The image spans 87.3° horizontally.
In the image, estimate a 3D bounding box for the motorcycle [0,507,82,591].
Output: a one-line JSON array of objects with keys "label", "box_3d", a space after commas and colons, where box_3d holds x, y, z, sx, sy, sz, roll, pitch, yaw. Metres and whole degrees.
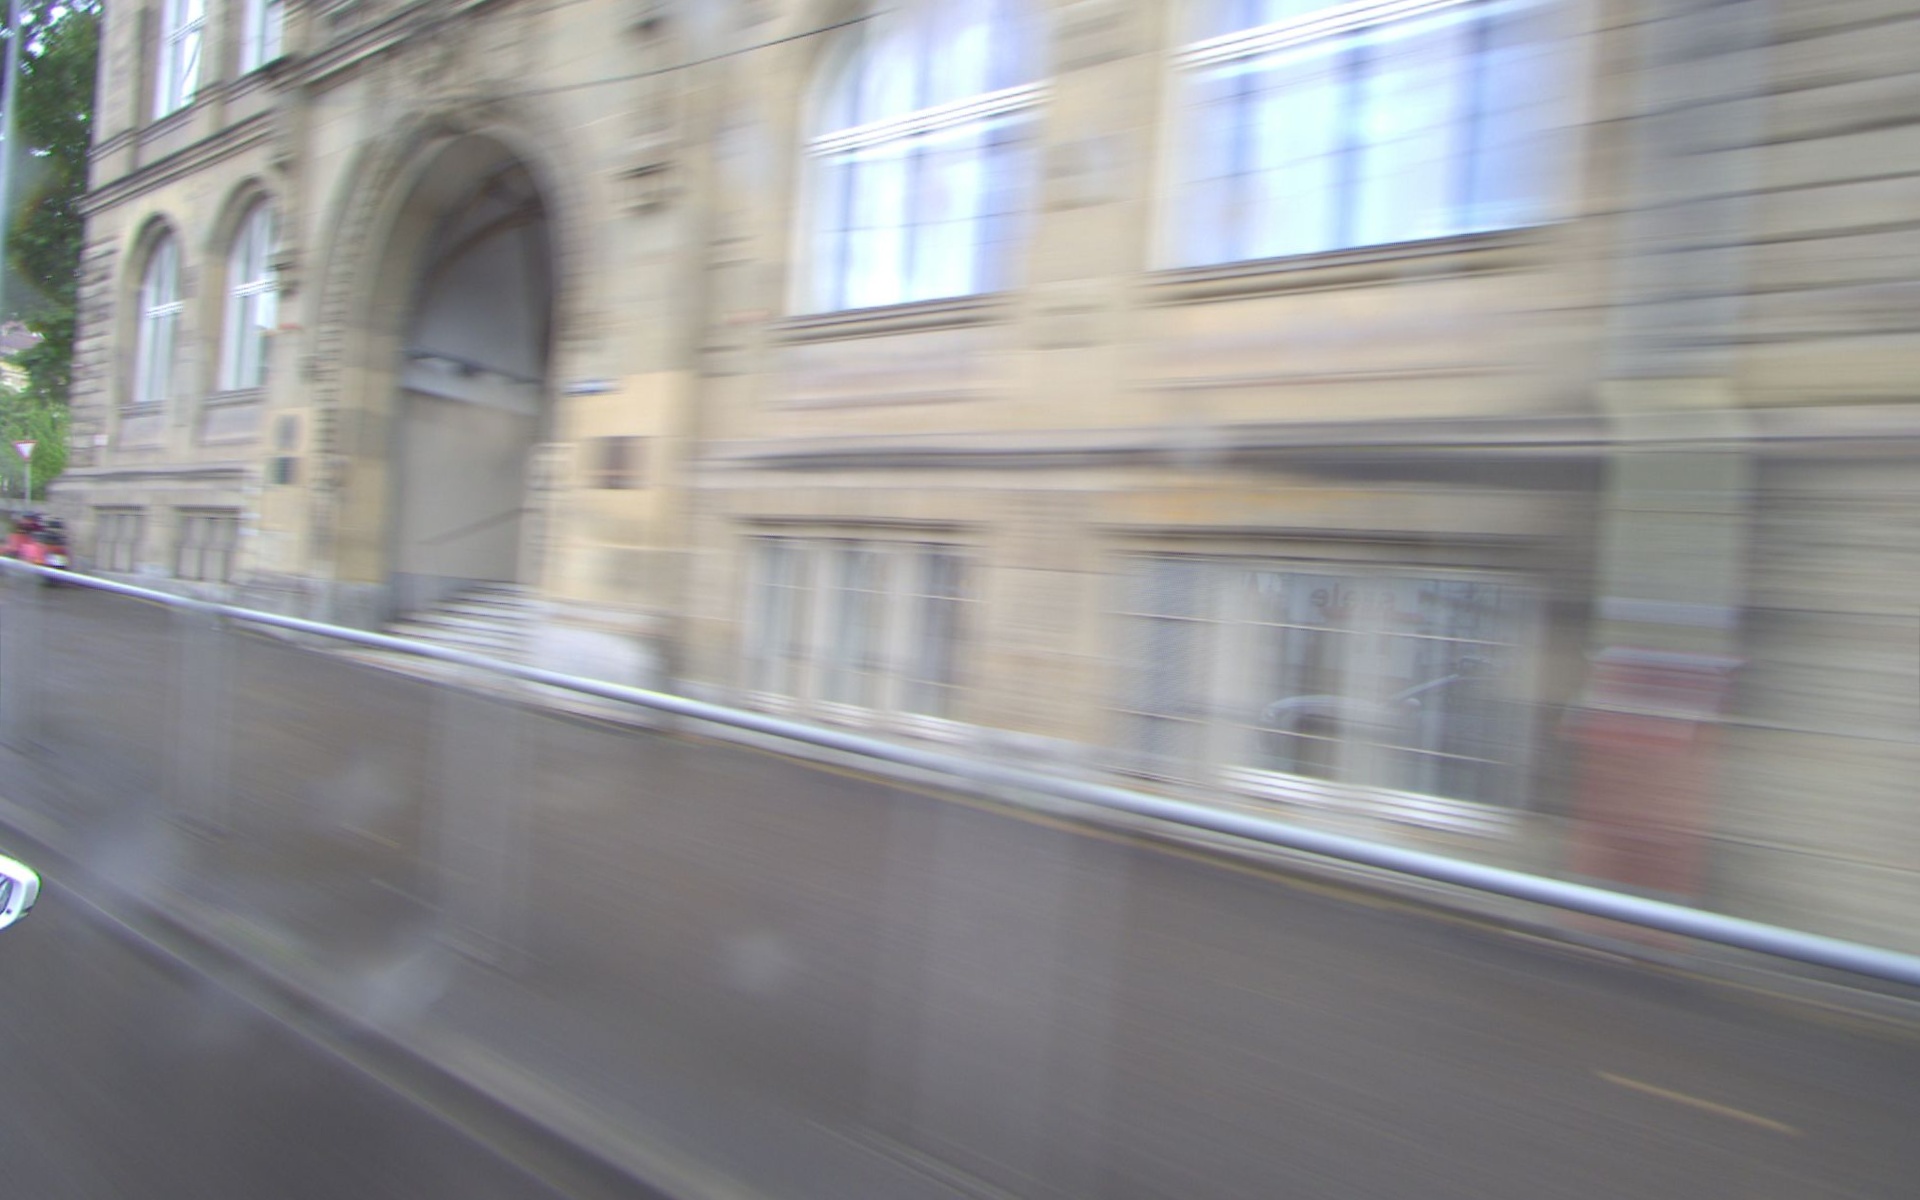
[{"label": "motorcycle", "box_3d": [-14.553, -0.817, 15.804, 1.867, 1.153, 0.547, 7, 1, 31]}]
